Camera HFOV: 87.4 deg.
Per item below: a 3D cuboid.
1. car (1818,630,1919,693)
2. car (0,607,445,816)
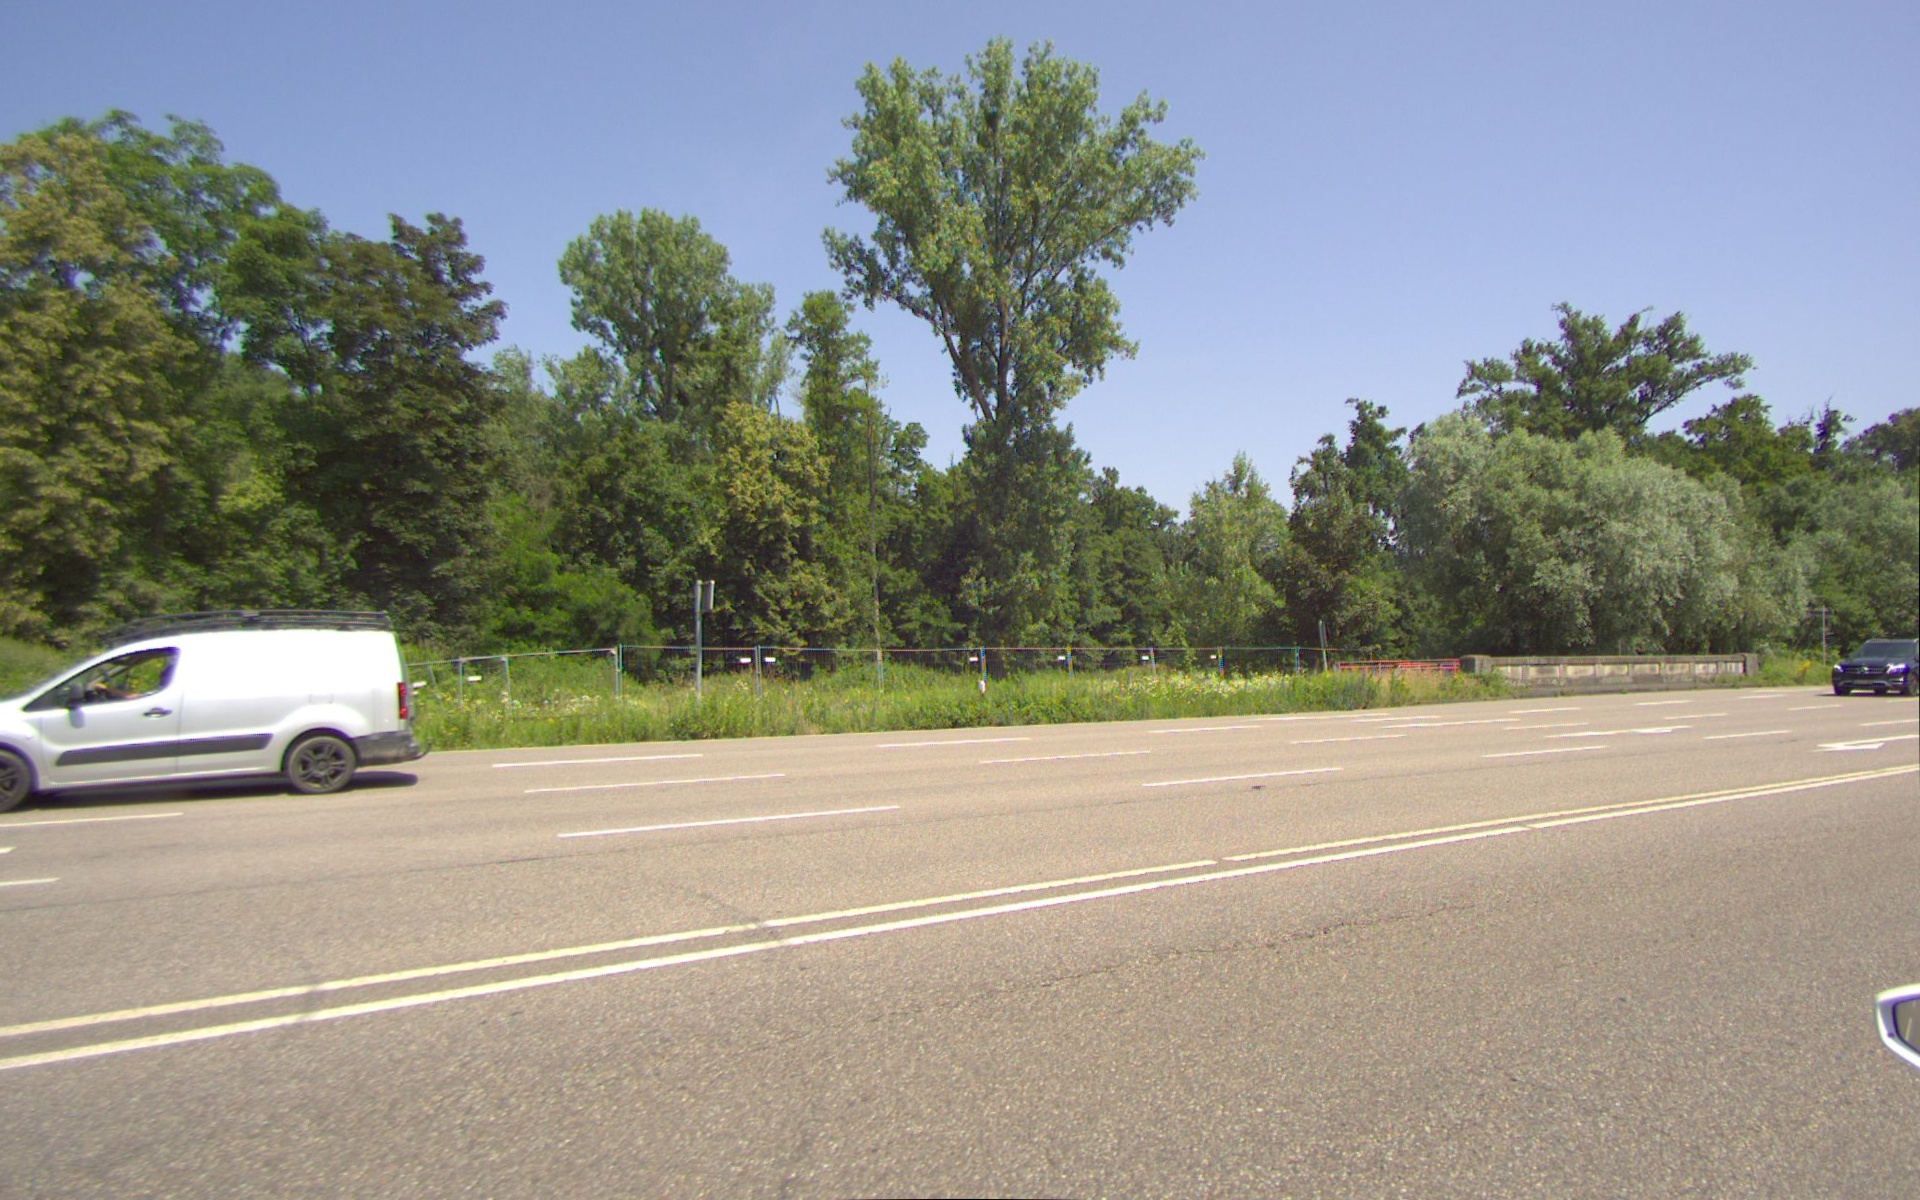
[{"bbox_3d":[29.880,1.948,32.279,4.901,1.906,1.985,1,-3,-30],"label":"car"},{"bbox_3d":[-8.430,1.157,11.175,4.761,1.991,1.986,1,-4,-29],"label":"car"}]
